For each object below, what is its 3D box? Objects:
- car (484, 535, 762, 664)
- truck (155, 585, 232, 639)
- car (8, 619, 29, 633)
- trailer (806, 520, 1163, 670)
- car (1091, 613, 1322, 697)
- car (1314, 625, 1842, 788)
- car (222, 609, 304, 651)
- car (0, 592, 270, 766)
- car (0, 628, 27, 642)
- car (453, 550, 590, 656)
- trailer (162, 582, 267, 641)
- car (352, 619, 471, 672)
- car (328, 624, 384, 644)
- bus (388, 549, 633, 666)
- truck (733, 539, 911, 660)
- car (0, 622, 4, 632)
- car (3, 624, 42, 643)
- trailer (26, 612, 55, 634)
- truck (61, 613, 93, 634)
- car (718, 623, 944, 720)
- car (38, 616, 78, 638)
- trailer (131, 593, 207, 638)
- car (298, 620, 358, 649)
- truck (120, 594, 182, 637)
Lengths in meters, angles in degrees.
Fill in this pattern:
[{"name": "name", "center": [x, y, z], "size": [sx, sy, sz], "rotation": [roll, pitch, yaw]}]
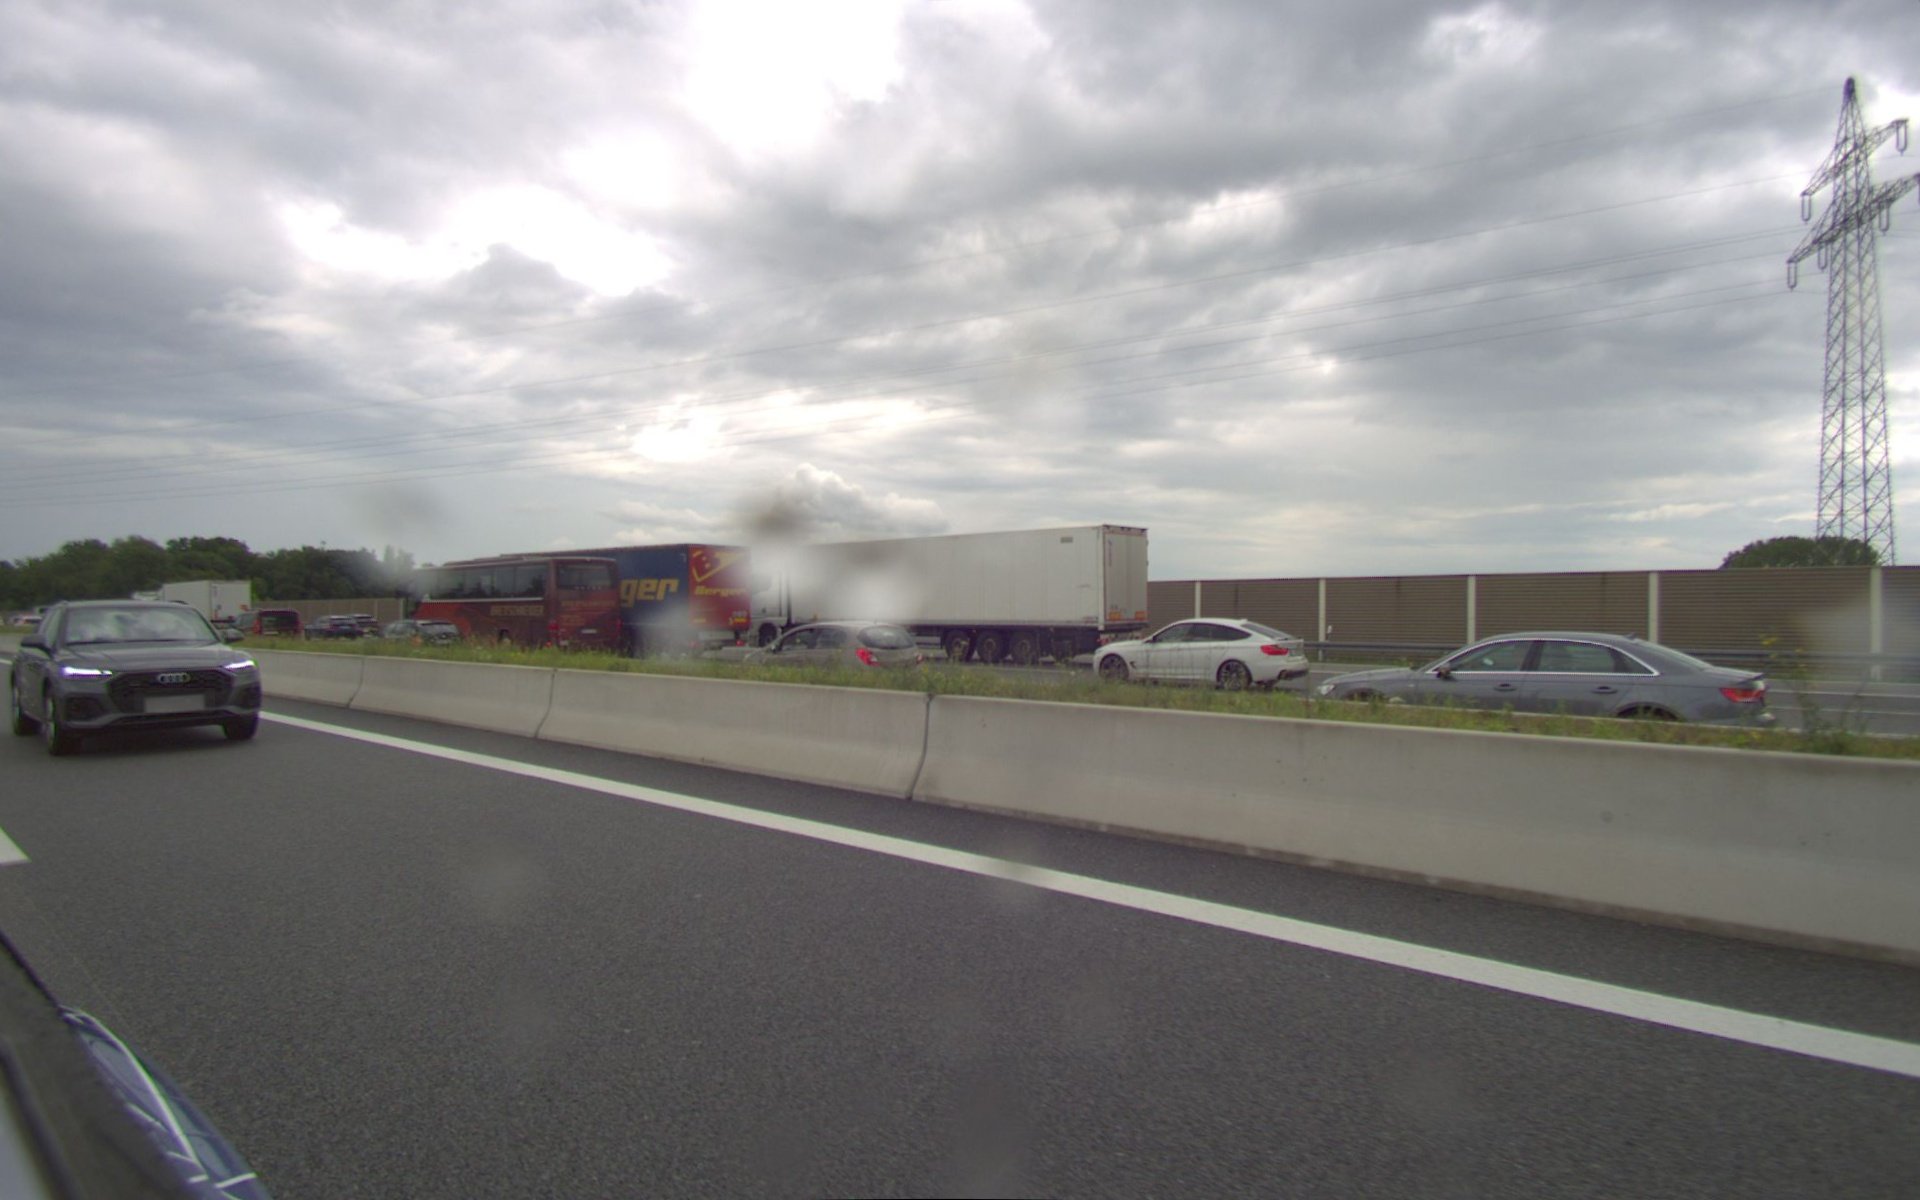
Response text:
[{"name": "car", "center": [-13.268, 0.069, 38.412], "size": [14.384, 4.155, 2.952], "rotation": [-1, 0, 40]}, {"name": "truck", "center": [-61.175, 0.950, 80.771], "size": [6.521, 4.078, 3.622], "rotation": [-1, 0, 41]}, {"name": "car", "center": [-141.290, 3.912, 151.870], "size": [4.938, 1.982, 1.748], "rotation": [-1, 0, 39]}, {"name": "trailer", "center": [0.277, -0.059, 33.154], "size": [12.689, 4.147, 2.871], "rotation": [-1, 0, 40]}, {"name": "car", "center": [5.292, 1.132, 22.111], "size": [4.578, 1.603, 1.769], "rotation": [-1, 0, 40]}, {"name": "car", "center": [6.743, 1.031, 11.485], "size": [4.857, 1.437, 1.699], "rotation": [-1, 0, 40]}, {"name": "car", "center": [-29.400, 1.238, 42.650], "size": [4.293, 1.678, 1.769], "rotation": [-1, 0, 40]}, {"name": "car", "center": [-10.278, 0.811, 12.385], "size": [5.167, 1.704, 1.888], "rotation": [-1, -1, 42]}, {"name": "car", "center": [-106.587, 3.877, 113.861], "size": [4.560, 1.465, 1.770], "rotation": [-1, 0, 39]}, {"name": "car", "center": [-18.734, 0.157, 43.068], "size": [6.038, 4.181, 2.952], "rotation": [-1, 0, 40]}, {"name": "trailer", "center": [-56.747, 0.861, 76.861], "size": [13.392, 4.139, 3.622], "rotation": [-1, 0, 41]}, {"name": "car", "center": [-17.402, 1.390, 32.016], "size": [4.561, 1.545, 1.769], "rotation": [-1, 0, 40]}, {"name": "car", "center": [-39.903, 2.241, 66.840], "size": [4.561, 1.253, 1.769], "rotation": [-1, 0, 40]}, {"name": "bus", "center": [-16.672, 0.311, 36.720], "size": [12.749, 3.638, 2.861], "rotation": [-1, 0, 40]}, {"name": "truck", "center": [-5.262, 0.024, 37.874], "size": [6.617, 4.147, 2.871], "rotation": [-1, 0, 40]}, {"name": "car", "center": [-141.556, 3.981, 148.096], "size": [4.938, 1.465, 1.748], "rotation": [-1, 0, 39]}, {"name": "car", "center": [-76.853, 2.763, 82.942], "size": [4.560, 1.465, 1.770], "rotation": [-1, 0, 39]}, {"name": "trailer", "center": [-126.084, 3.162, 138.709], "size": [4.896, 2.984, 2.225], "rotation": [-1, 0, 39]}, {"name": "truck", "center": [-111.627, 2.958, 127.910], "size": [6.259, 2.470, 2.081], "rotation": [-1, 0, 40]}, {"name": "car", "center": [-2.446, 1.218, 18.543], "size": [4.210, 1.535, 1.699], "rotation": [-1, 0, 40]}, {"name": "car", "center": [-87.089, 2.583, 97.704], "size": [6.085, 1.983, 2.256], "rotation": [-1, 0, 42]}, {"name": "trailer", "center": [-80.596, 1.595, 102.996], "size": [12.458, 4.268, 3.623], "rotation": [-1, 0, 40]}, {"name": "car", "center": [-37.605, 2.034, 60.217], "size": [4.382, 1.603, 1.769], "rotation": [-1, 0, 40]}, {"name": "truck", "center": [-86.380, 1.645, 107.961], "size": [8.231, 4.351, 3.623], "rotation": [-1, 0, 40]}]
